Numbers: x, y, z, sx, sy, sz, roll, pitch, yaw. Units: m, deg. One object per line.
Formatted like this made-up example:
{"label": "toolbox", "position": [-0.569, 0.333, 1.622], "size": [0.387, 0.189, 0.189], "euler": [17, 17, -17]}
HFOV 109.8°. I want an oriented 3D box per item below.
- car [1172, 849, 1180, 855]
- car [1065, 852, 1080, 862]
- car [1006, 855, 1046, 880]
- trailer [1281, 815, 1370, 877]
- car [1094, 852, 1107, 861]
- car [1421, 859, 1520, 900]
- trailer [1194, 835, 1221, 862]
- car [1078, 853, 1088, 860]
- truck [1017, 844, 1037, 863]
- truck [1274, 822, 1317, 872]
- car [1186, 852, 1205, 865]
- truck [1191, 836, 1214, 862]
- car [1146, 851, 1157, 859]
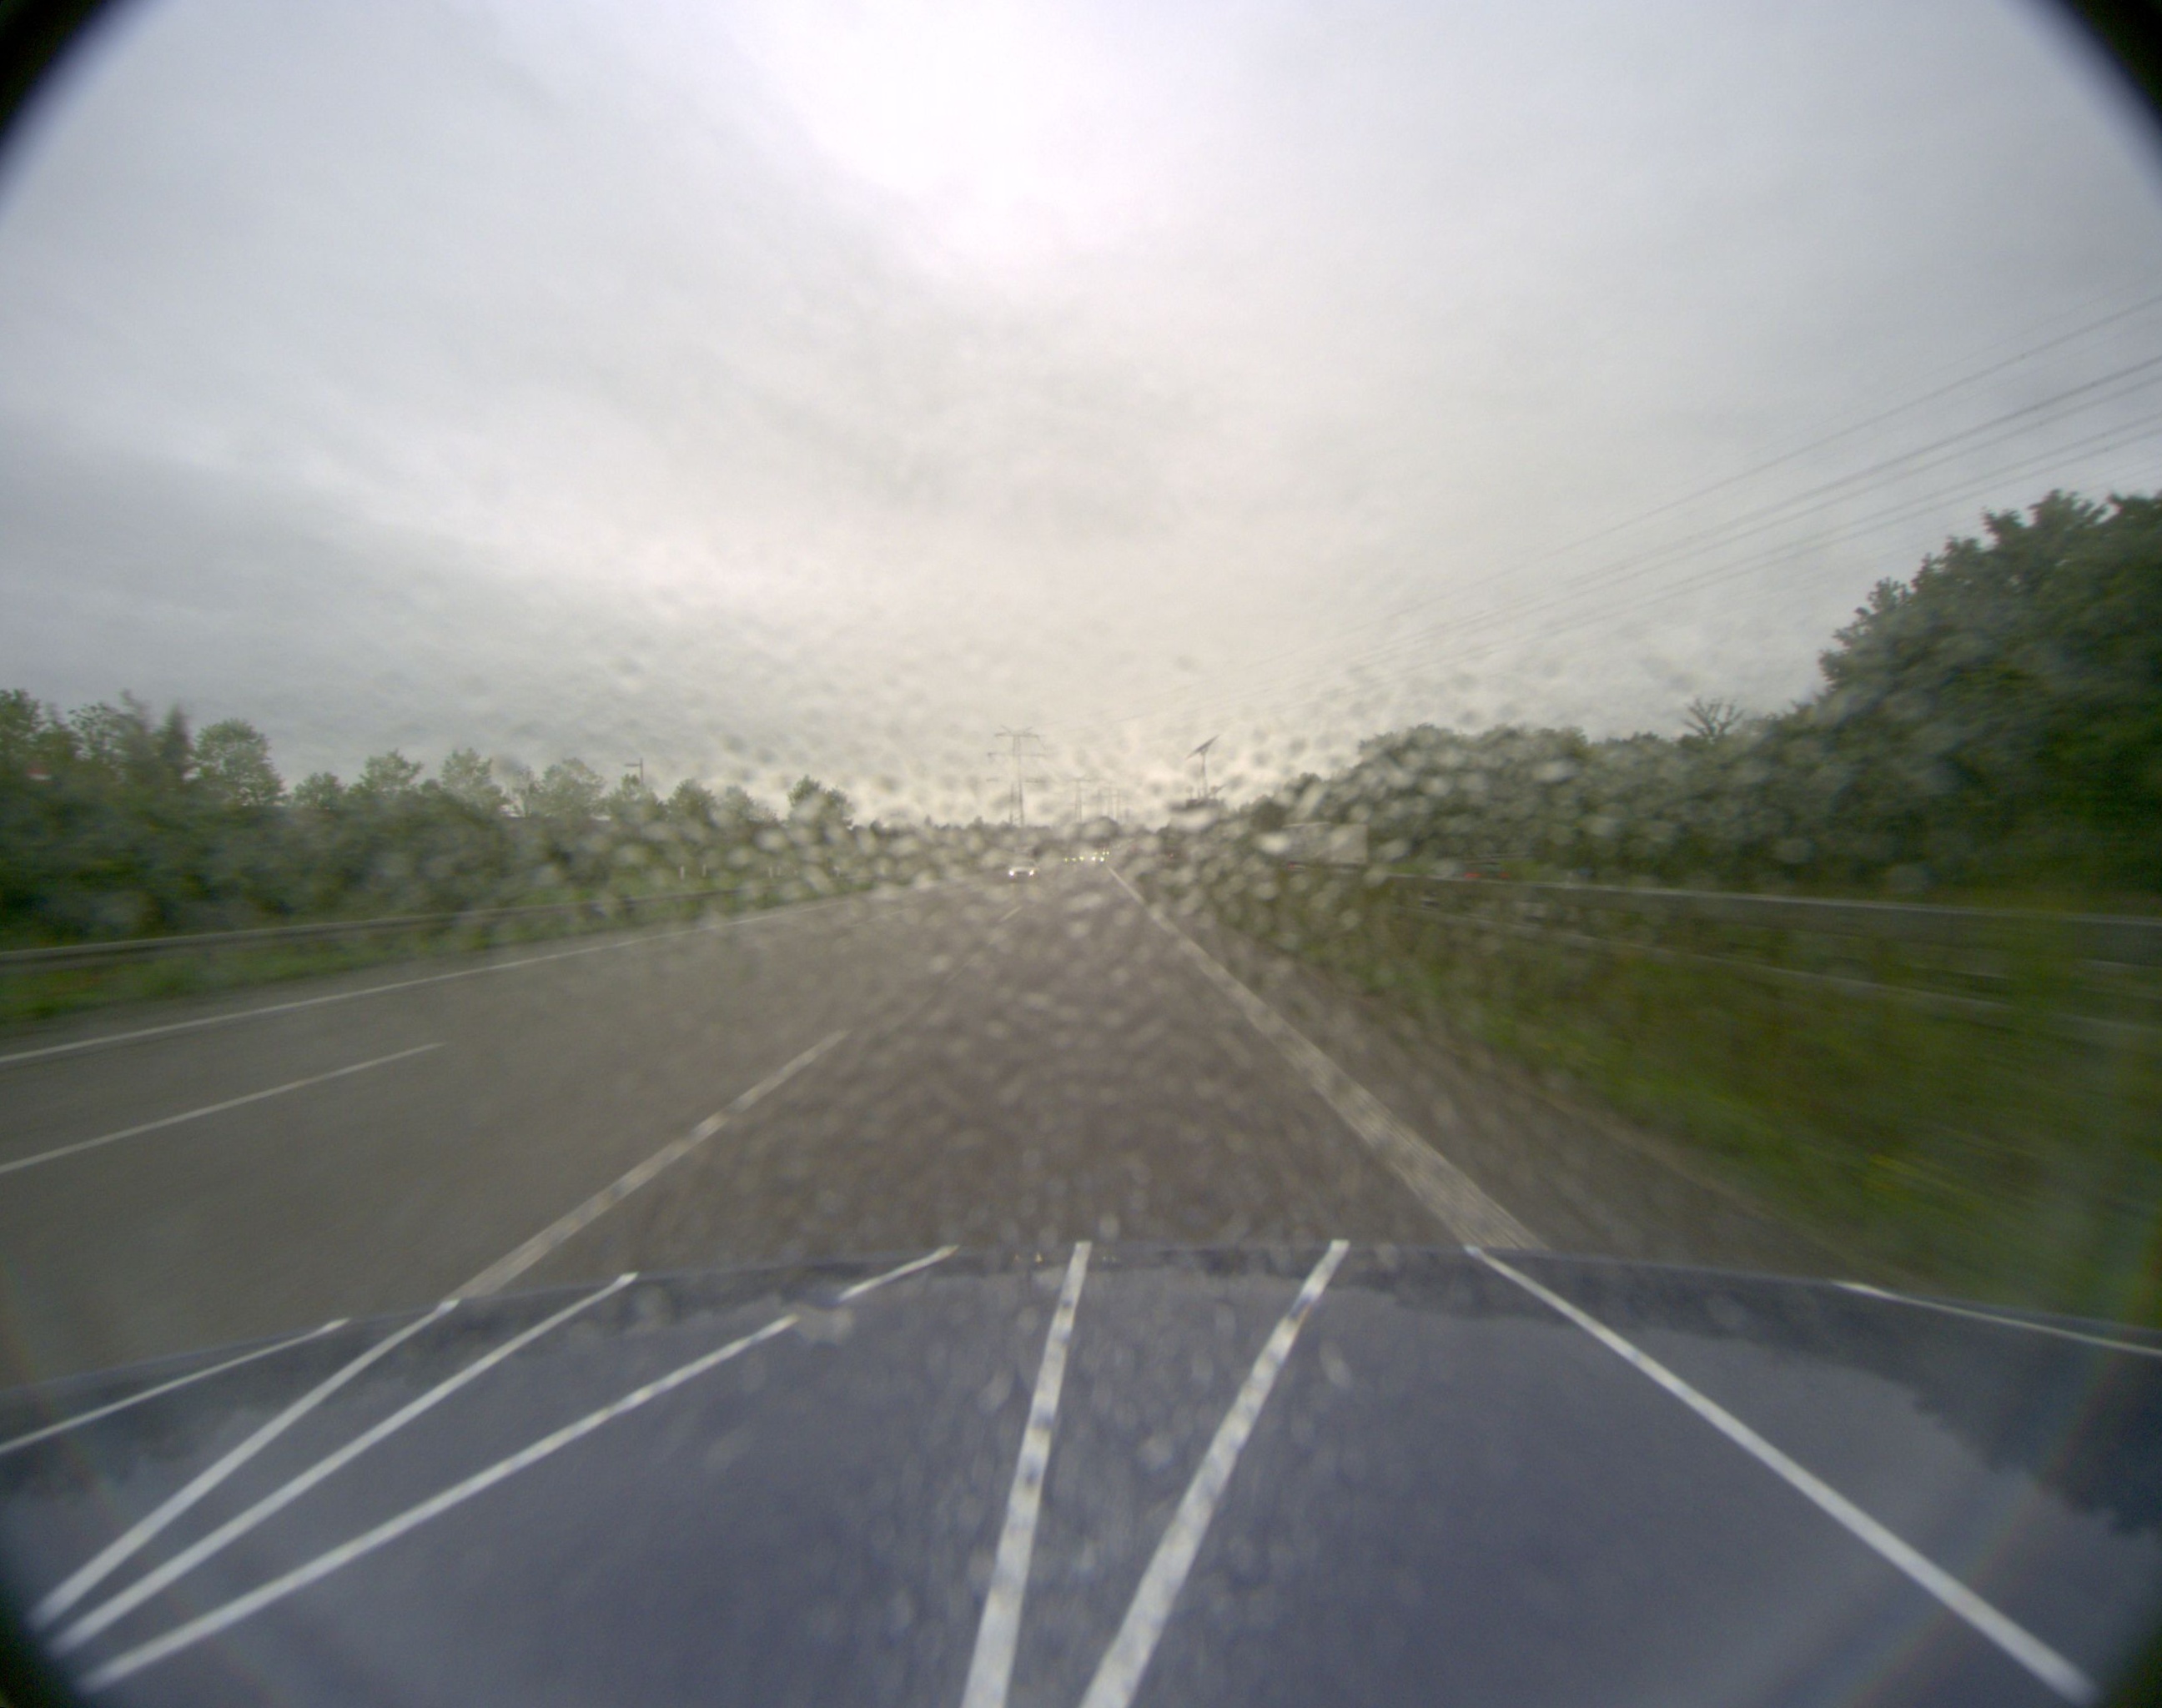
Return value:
{"label": "car", "position": [26.787, -0.600, 214.250], "size": [1.972, 1.534, 4.001], "euler": [0, 0, 3]}
{"label": "car", "position": [-1.382, 0.473, 123.462], "size": [1.998, 1.419, 4.000], "euler": [-2, 1, 4]}
{"label": "car", "position": [-3.488, 0.840, 48.961], "size": [1.998, 1.419, 4.000], "euler": [-2, 1, 4]}
{"label": "trailer", "position": [18.538, -0.563, 58.879], "size": [2.650, 4.212, 13.911], "euler": [-1, 0, 1]}
{"label": "car", "position": [3.375, 0.393, 132.046], "size": [1.998, 1.419, 4.000], "euler": [-2, 1, 4]}
{"label": "car", "position": [14.523, 0.905, 28.582], "size": [1.683, 1.389, 4.000], "euler": [0, 0, 1]}
{"label": "trailer", "position": [19.575, -0.818, 118.435], "size": [2.769, 4.032, 9.200], "euler": [1, 0, 1]}
{"label": "car", "position": [0.503, 0.583, 162.210], "size": [1.856, 1.419, 4.000], "euler": [-2, 1, 4]}
{"label": "truck", "position": [-9.851, -0.141, 139.175], "size": [2.648, 3.325, 6.931], "euler": [-2, 1, 4]}
{"label": "truck", "position": [18.666, -0.581, 66.371], "size": [2.650, 4.212, 4.000], "euler": [-1, 0, 1]}
{"label": "car", "position": [14.862, 0.553, 98.602], "size": [1.829, 1.628, 4.472], "euler": [0, 0, 1]}
{"label": "truck", "position": [19.654, -0.827, 123.237], "size": [2.769, 4.032, 6.156], "euler": [1, 0, 1]}
{"label": "car", "position": [13.248, 0.181, 142.664], "size": [1.668, 1.533, 4.000], "euler": [0, 0, 1]}
